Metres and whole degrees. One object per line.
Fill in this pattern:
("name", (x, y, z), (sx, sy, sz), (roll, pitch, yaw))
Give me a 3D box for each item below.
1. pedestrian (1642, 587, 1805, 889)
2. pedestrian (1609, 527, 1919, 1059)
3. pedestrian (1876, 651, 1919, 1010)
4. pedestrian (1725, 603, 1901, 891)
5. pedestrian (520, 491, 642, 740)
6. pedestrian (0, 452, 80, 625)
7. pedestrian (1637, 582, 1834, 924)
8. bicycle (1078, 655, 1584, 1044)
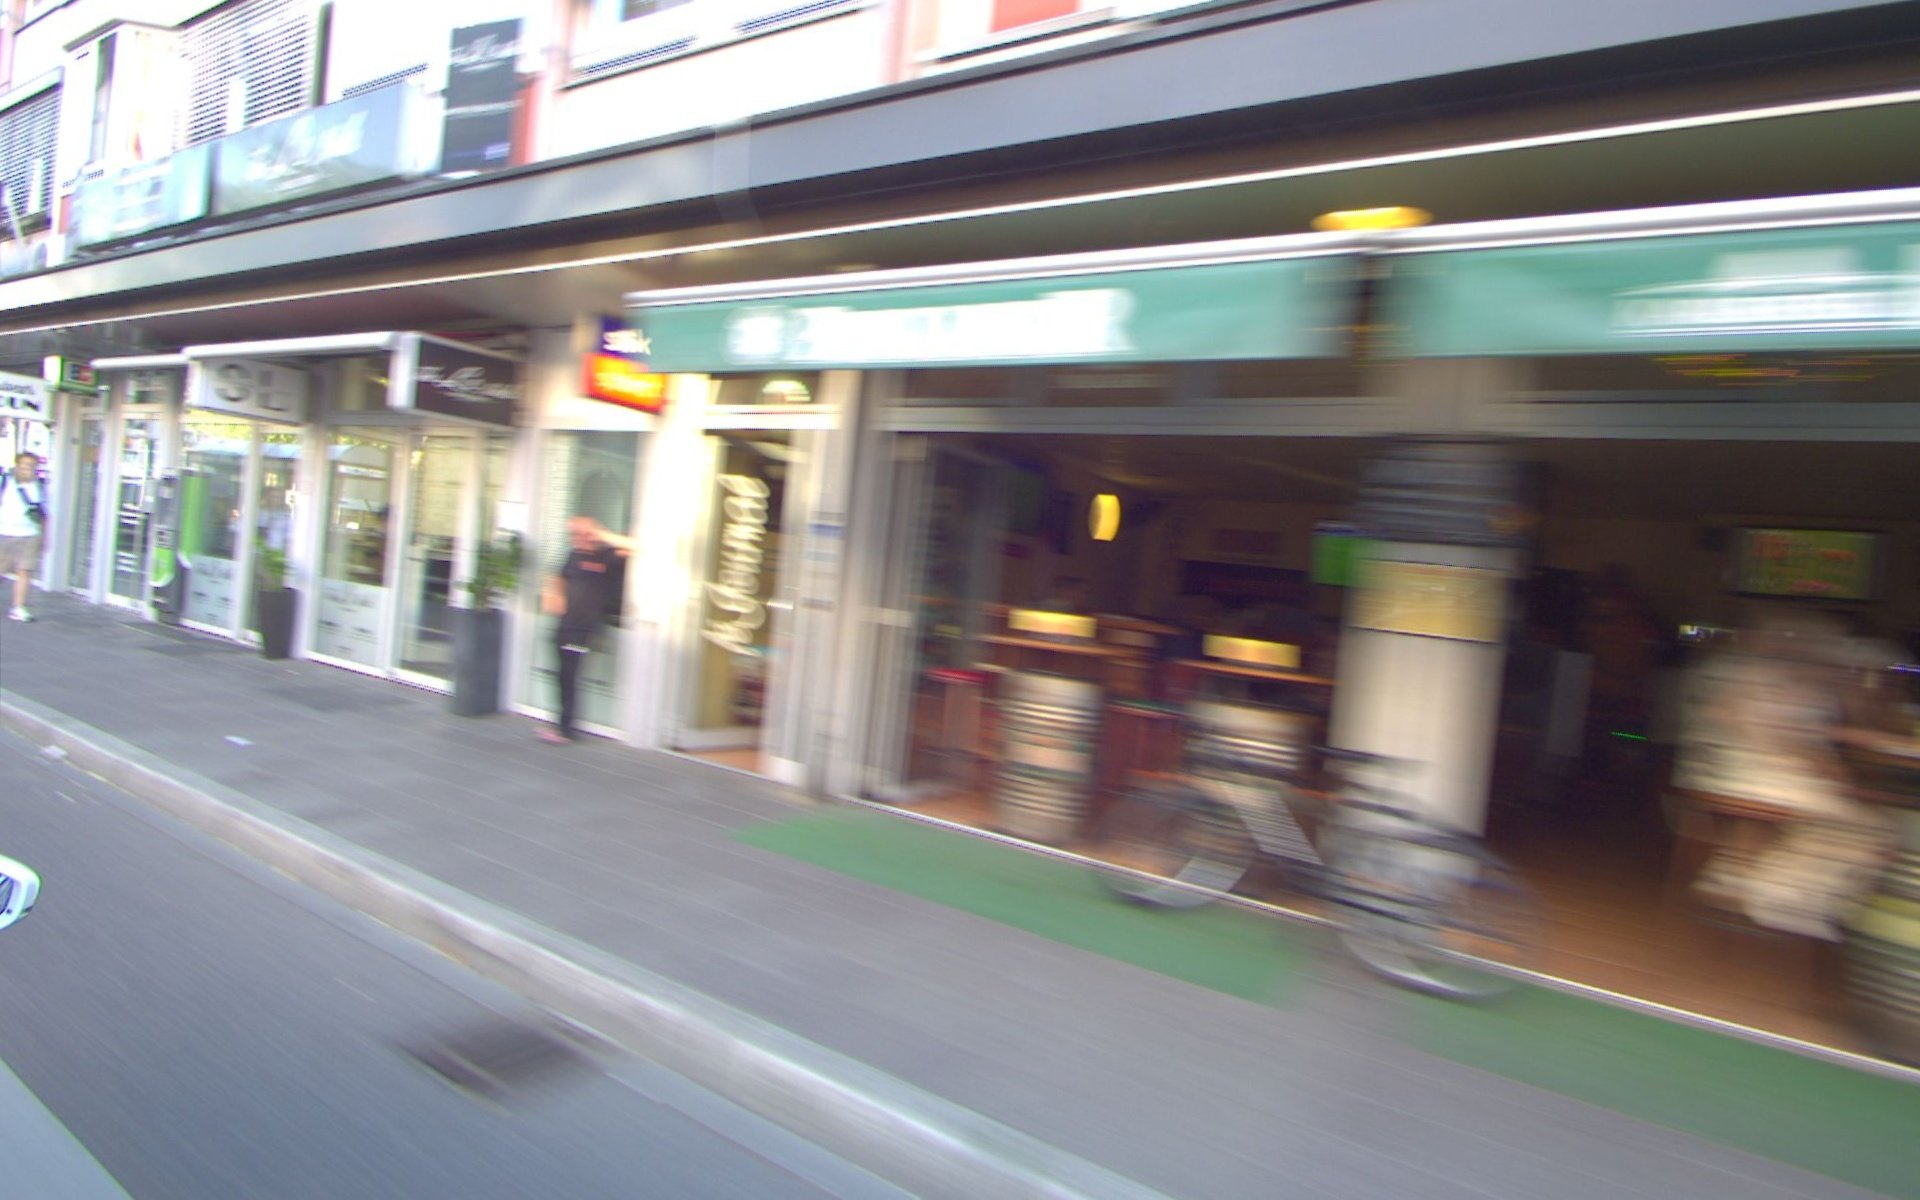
("pedestrian", (5.222, 0.897, 6.941), (0.676, 1.892, 0.776), (7, 3, 34))
("pedestrian", (3.276, 0.701, 4.077), (0.674, 1.892, 0.779), (5, 3, 12))
("pedestrian", (4.433, 0.810, 3.982), (0.674, 1.892, 0.778), (5, 3, 1))
("pedestrian", (6.127, 1.006, 7.228), (0.773, 1.892, 0.679), (3, 3, -40))
("pedestrian", (-2.725, 0.107, 7.250), (0.460, 1.695, 0.542), (6, 2, 23))
("pedestrian", (-9.984, -0.659, 10.613), (1.044, 1.746, 0.797), (6, 4, 33))
("pedestrian", (4.723, 0.876, 6.202), (0.737, 1.892, 0.776), (7, 3, 34))
("bicycle", (1.462, 0.892, 4.135), (1.764, 1.082, 0.657), (6, 6, 31))
